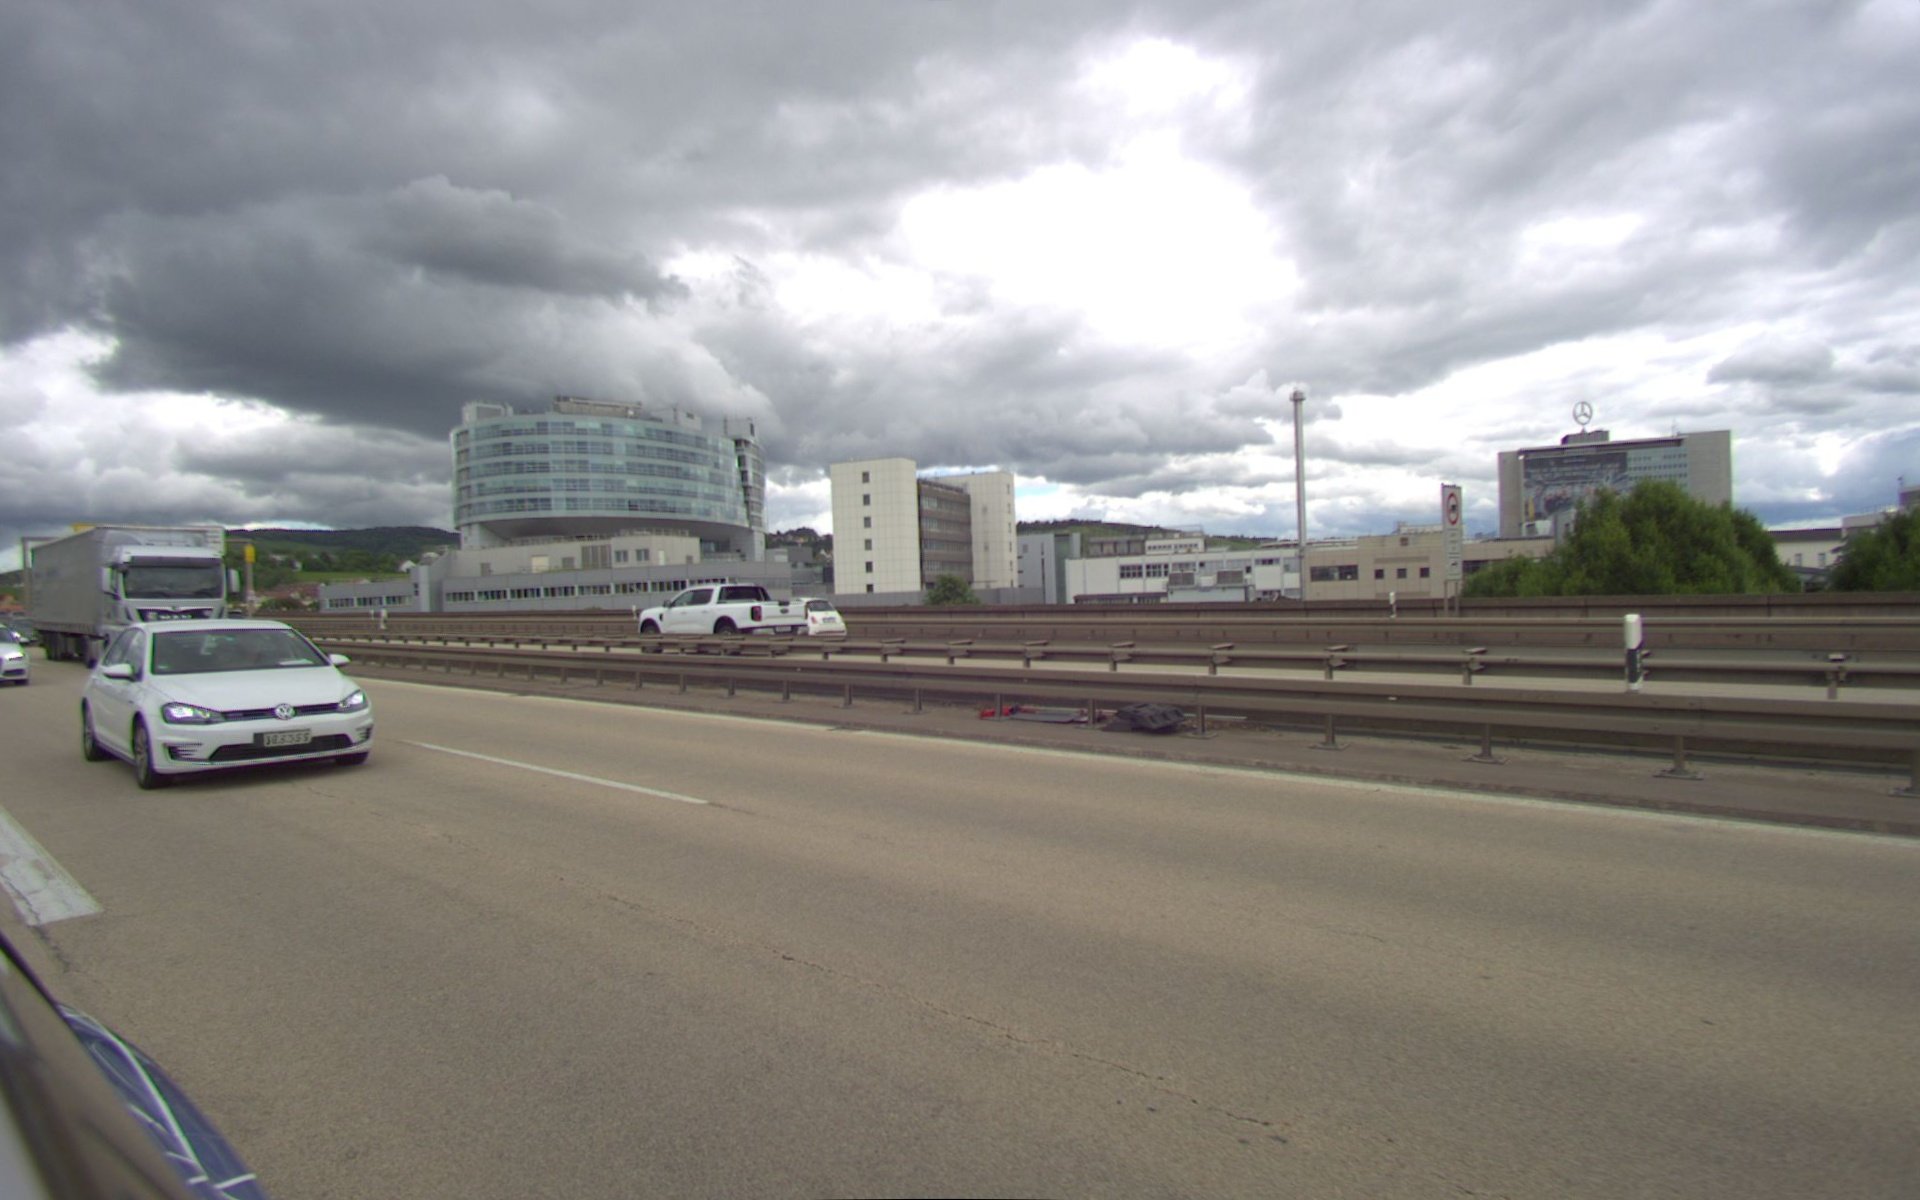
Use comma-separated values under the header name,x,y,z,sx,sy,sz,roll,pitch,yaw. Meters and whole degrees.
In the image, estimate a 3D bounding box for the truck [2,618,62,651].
name,x,y,z,sx,sy,sz,roll,pitch,yaw
truck,-45.648,1.658,49.776,3.512,1.541,1.806,-1,0,41

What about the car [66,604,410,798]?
name,x,y,z,sx,sy,sz,roll,pitch,yaw
car,-7.315,0.832,10.105,4.059,1.519,1.906,-1,0,41

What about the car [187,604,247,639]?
name,x,y,z,sx,sy,sz,roll,pitch,yaw
car,-38.216,1.079,52.020,3.774,1.662,1.666,-1,1,41

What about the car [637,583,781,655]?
name,x,y,z,sx,sy,sz,roll,pitch,yaw
car,-6.585,0.473,26.391,3.774,1.732,1.768,-1,1,41

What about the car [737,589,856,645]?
name,x,y,z,sx,sy,sz,roll,pitch,yaw
car,-5.229,0.527,32.127,3.774,1.662,1.666,-1,1,41

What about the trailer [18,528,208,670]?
name,x,y,z,sx,sy,sz,roll,pitch,yaw
trailer,-28.841,-0.002,34.154,11.761,4.056,3.148,-1,1,42

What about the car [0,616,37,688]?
name,x,y,z,sx,sy,sz,roll,pitch,yaw
car,-22.344,1.166,22.721,4.059,1.519,1.906,-1,1,41

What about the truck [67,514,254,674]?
name,x,y,z,sx,sy,sz,roll,pitch,yaw
truck,-22.732,-0.171,28.693,5.686,4.067,3.102,-1,1,42
